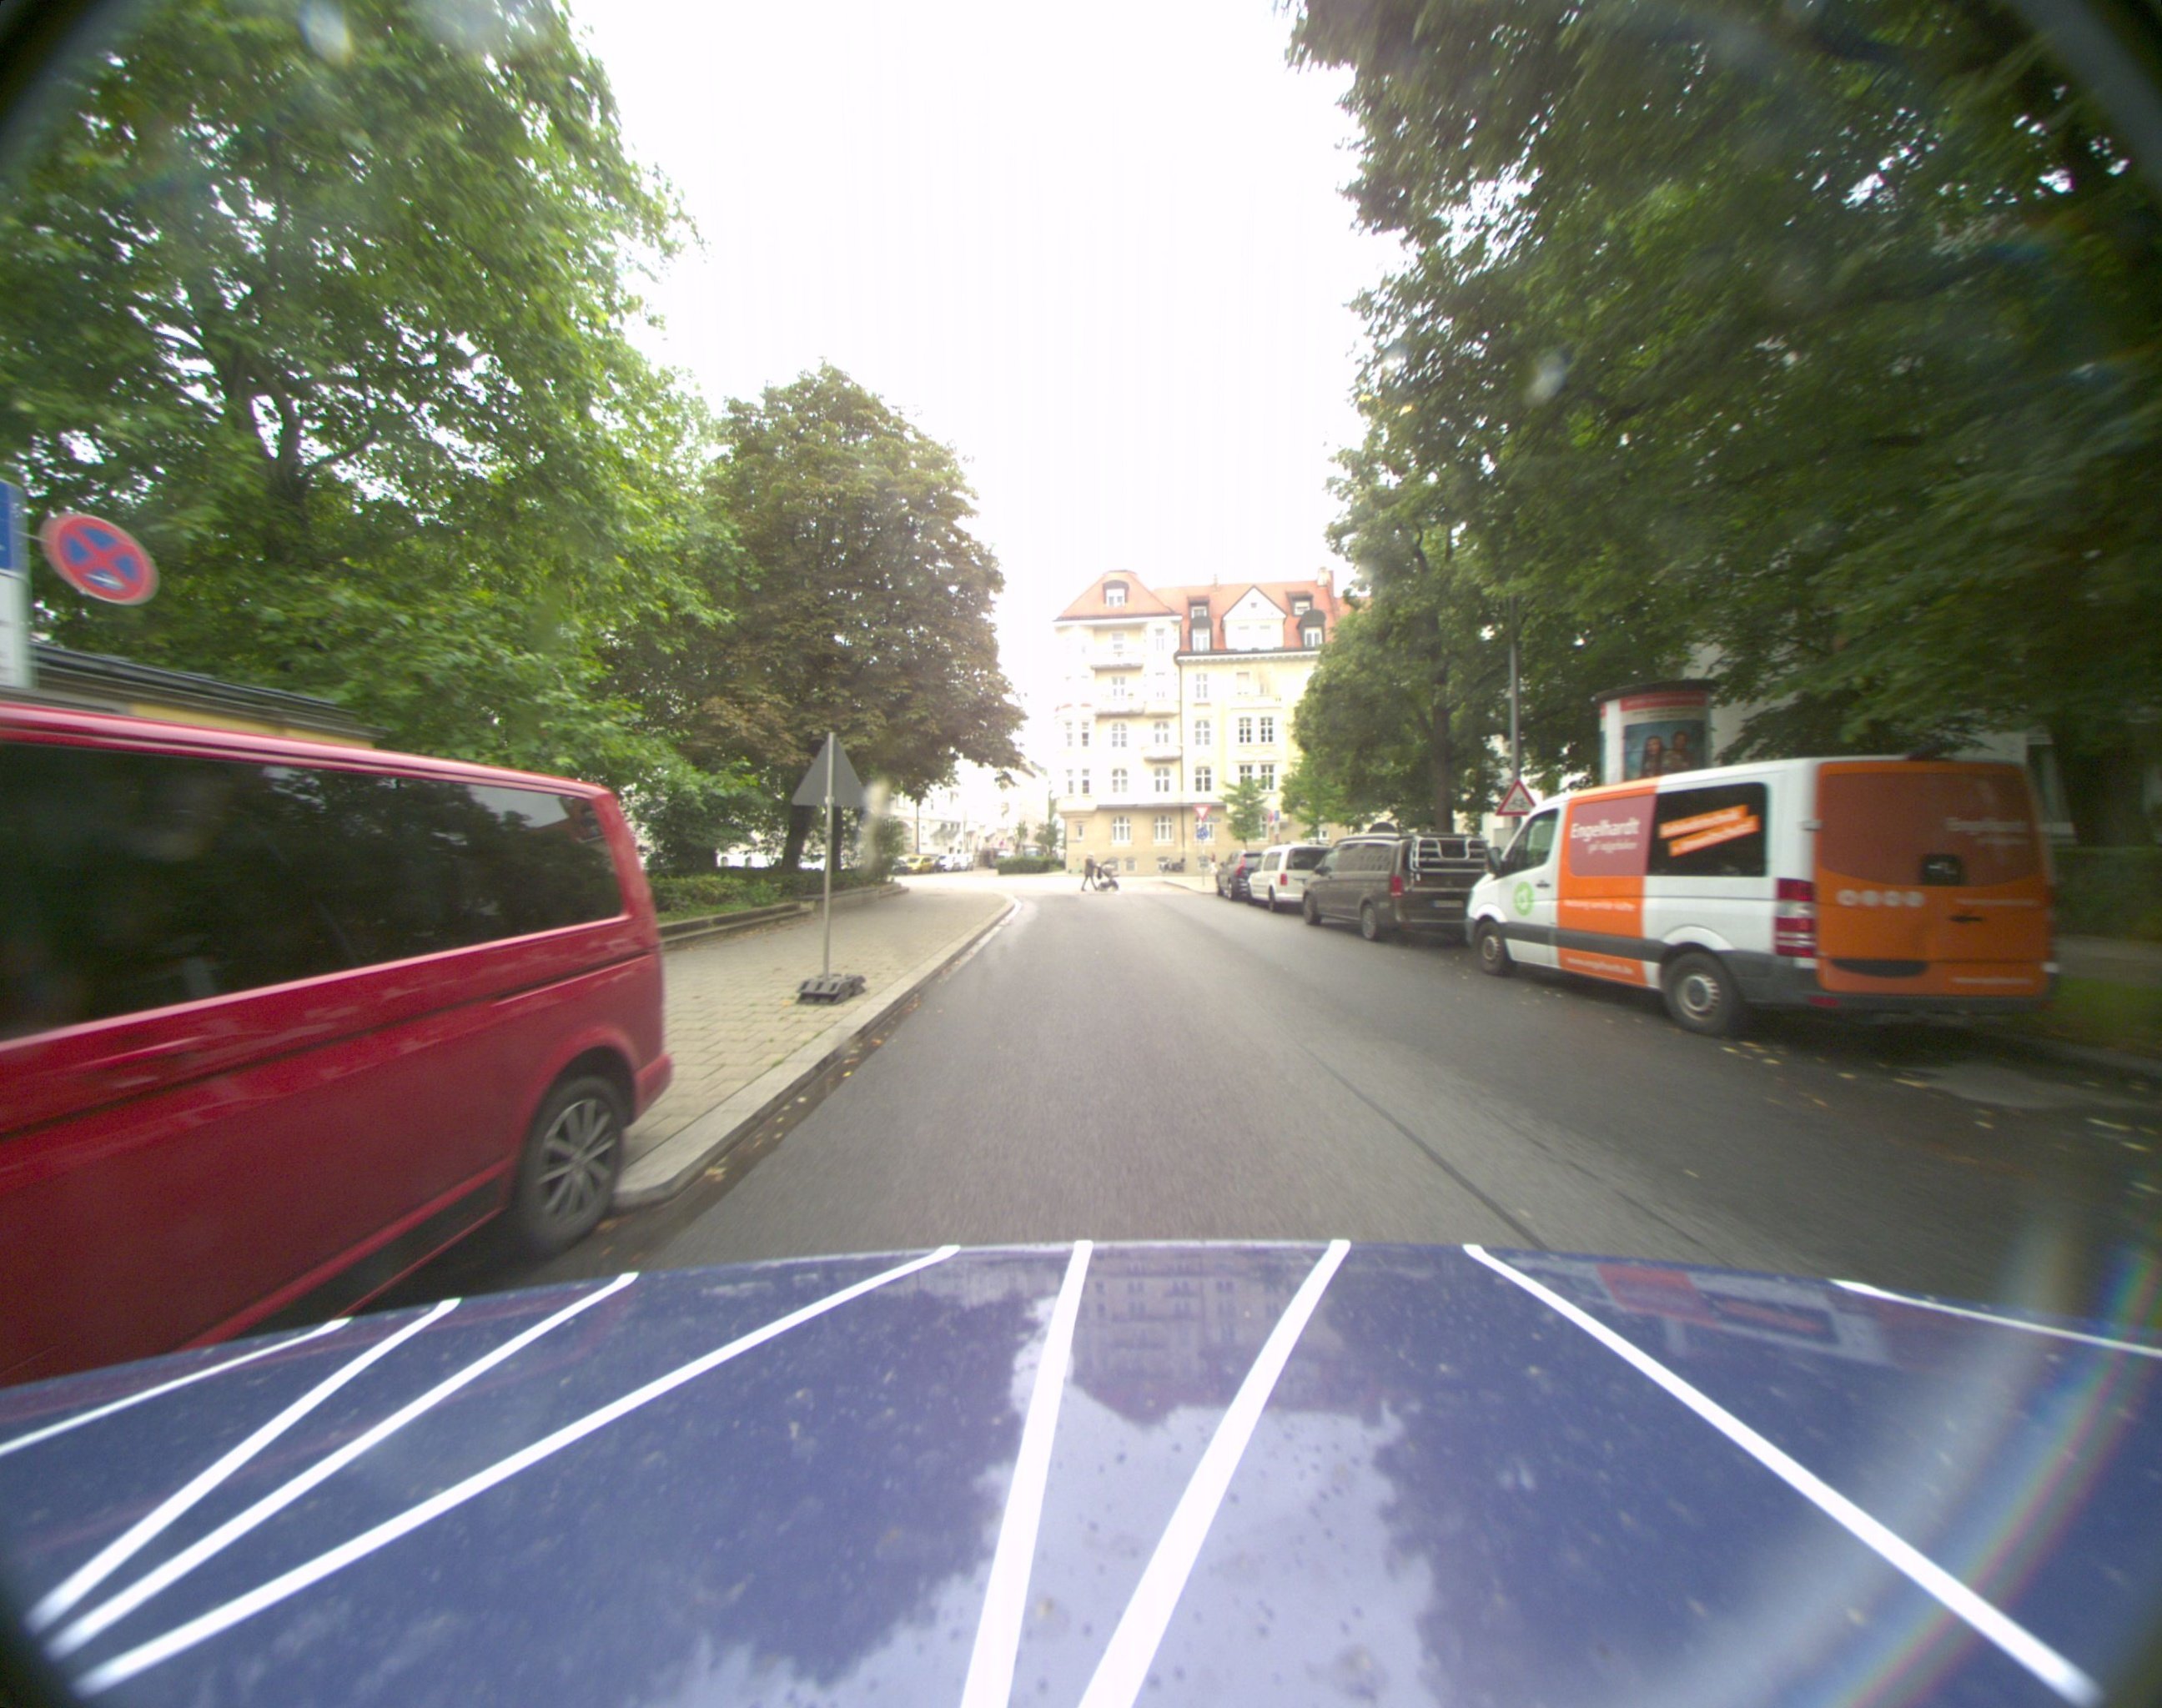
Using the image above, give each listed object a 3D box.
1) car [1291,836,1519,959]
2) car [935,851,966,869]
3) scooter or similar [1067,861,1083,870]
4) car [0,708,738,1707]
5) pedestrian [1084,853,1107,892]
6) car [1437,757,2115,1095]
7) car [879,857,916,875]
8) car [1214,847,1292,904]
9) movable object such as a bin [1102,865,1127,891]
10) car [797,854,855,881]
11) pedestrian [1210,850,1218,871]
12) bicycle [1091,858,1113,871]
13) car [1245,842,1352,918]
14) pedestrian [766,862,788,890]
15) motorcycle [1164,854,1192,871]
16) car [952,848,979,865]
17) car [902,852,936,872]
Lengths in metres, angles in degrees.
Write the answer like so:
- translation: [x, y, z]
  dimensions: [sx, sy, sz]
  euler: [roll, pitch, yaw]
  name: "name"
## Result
- translation: [5.920, 0.701, 14.829]
  dimensions: [1.950, 1.952, 5.458]
  euler: [0, 0, -2]
  name: "car"
- translation: [-14.624, 0.682, 85.432]
  dimensions: [2.156, 1.902, 4.774]
  euler: [0, 1, 7]
  name: "car"
- translation: [-0.489, 0.928, 62.562]
  dimensions: [1.235, 0.683, 0.316]
  euler: [-1, 2, -21]
  name: "scooter or similar"
- translation: [-2.892, 0.715, 1.699]
  dimensions: [1.864, 1.956, 5.442]
  euler: [-1, 1, -2]
  name: "car"
- translation: [0.603, 0.771, 32.176]
  dimensions: [0.863, 1.610, 0.593]
  euler: [-1, 2, -8]
  name: "pedestrian"
- translation: [6.151, 0.504, 8.021]
  dimensions: [2.120, 2.335, 5.407]
  euler: [-1, 0, -2]
  name: "car"
- translation: [-16.667, 1.061, 69.098]
  dimensions: [1.948, 1.412, 3.821]
  euler: [0, 1, 9]
  name: "car"
- translation: [6.044, 0.676, 27.239]
  dimensions: [1.884, 1.758, 5.059]
  euler: [-1, 1, 3]
  name: "car"
- translation: [1.417, 1.018, 32.392]
  dimensions: [0.900, 1.078, 0.777]
  euler: [-1, 2, -8]
  name: "movable object such as a bin"
- translation: [-18.908, 0.964, 56.587]
  dimensions: [1.948, 1.923, 4.977]
  euler: [0, 0, 9]
  name: "car"
- translation: [10.731, 0.539, 61.293]
  dimensions: [0.606, 1.655, 0.463]
  euler: [0, 2, 12]
  name: "pedestrian"
- translation: [1.742, 0.869, 62.681]
  dimensions: [1.783, 0.986, 0.543]
  euler: [-1, 2, 3]
  name: "bicycle"
- translation: [6.052, 0.665, 21.774]
  dimensions: [1.884, 1.925, 4.833]
  euler: [0, 0, 3]
  name: "car"
- translation: [-13.042, 0.951, 32.592]
  dimensions: [0.577, 1.170, 0.746]
  euler: [0, 0, 9]
  name: "pedestrian"
- translation: [7.845, 0.661, 61.704]
  dimensions: [2.243, 1.319, 0.824]
  euler: [-1, 2, 4]
  name: "motorcycle"
- translation: [-13.912, 0.318, 91.568]
  dimensions: [2.052, 1.928, 4.577]
  euler: [0, 1, 7]
  name: "car"
- translation: [-15.752, 0.706, 74.268]
  dimensions: [1.793, 1.809, 4.306]
  euler: [0, 1, 9]
  name: "car"
